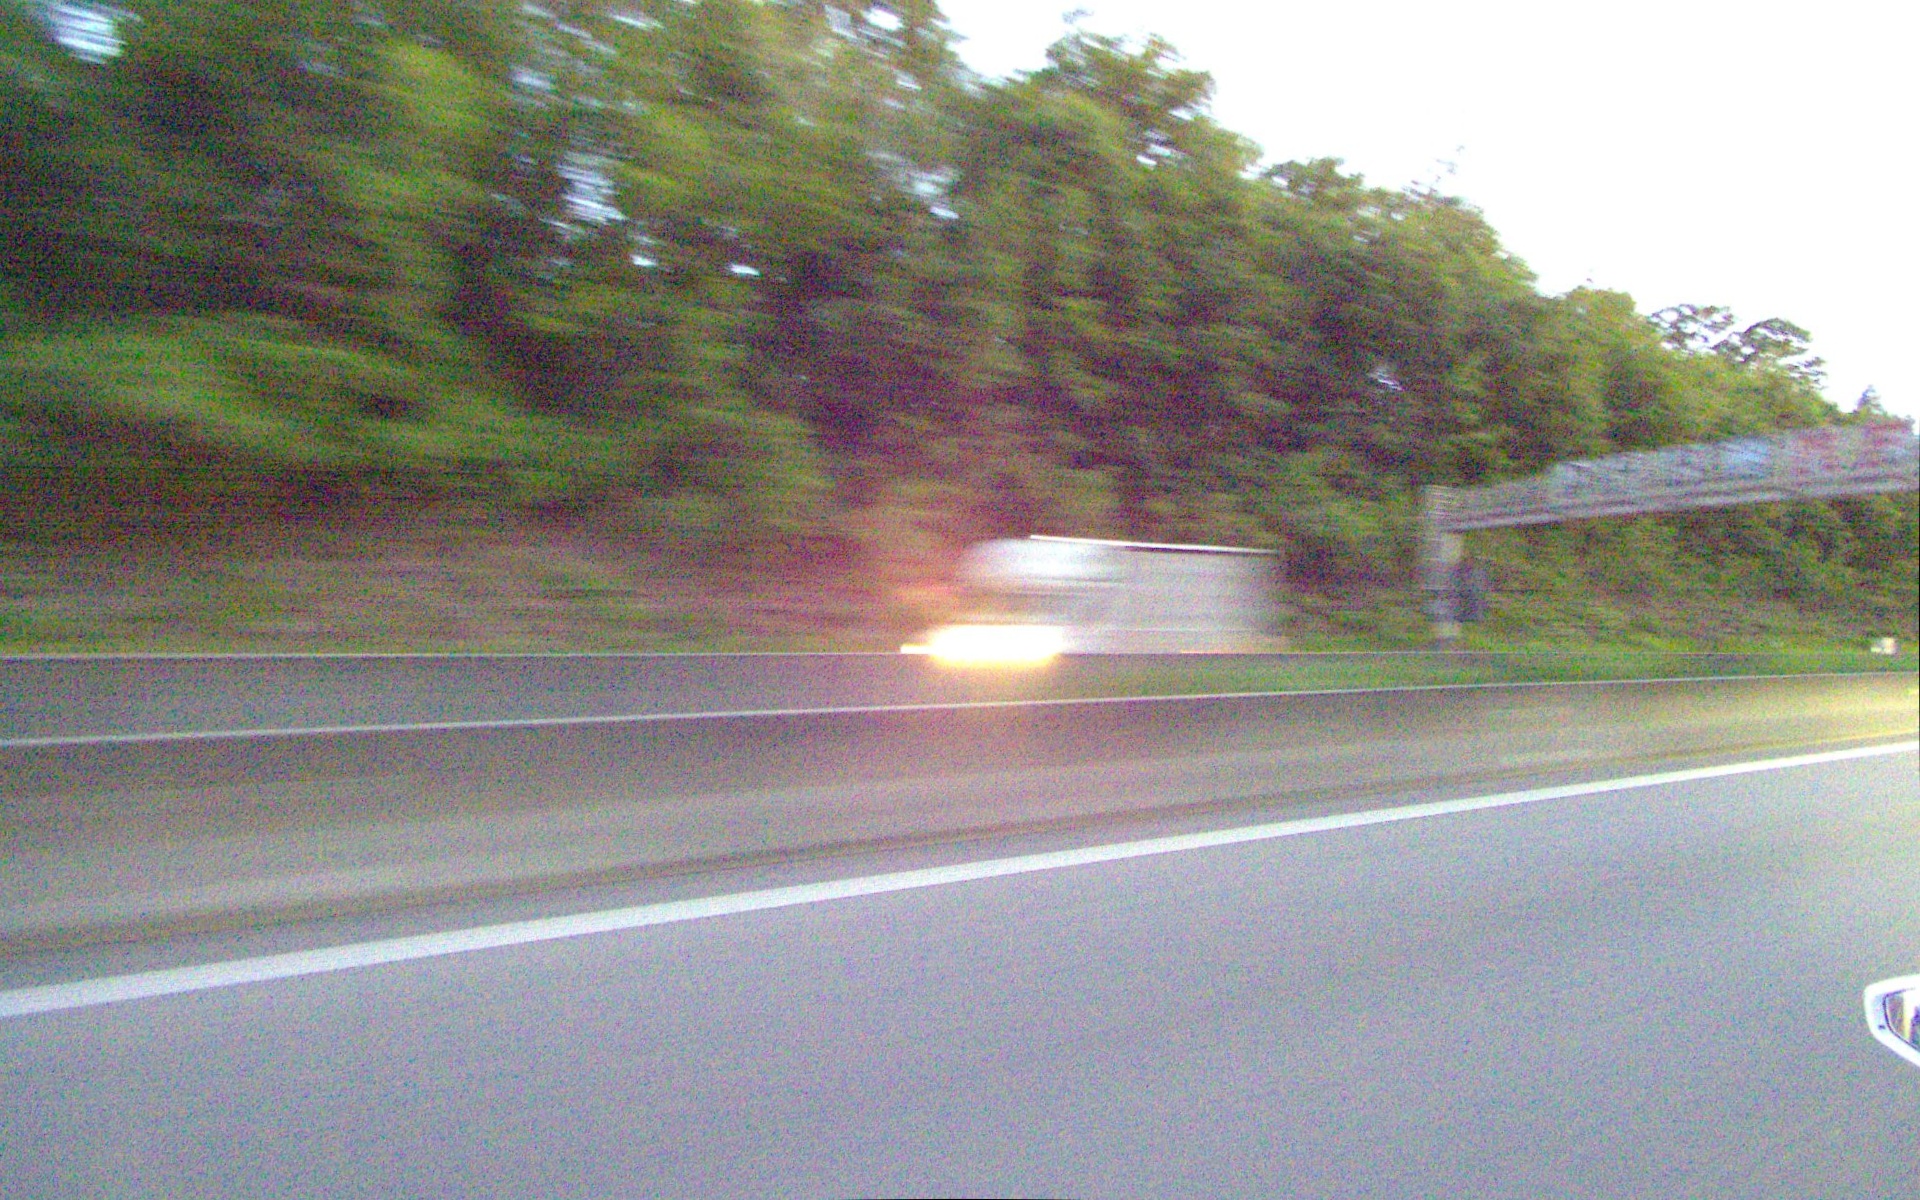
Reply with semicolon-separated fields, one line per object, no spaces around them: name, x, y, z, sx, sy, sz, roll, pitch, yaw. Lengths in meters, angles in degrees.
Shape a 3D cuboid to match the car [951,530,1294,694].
car;3.972;0.376;23.518;8.132;3.327;2.601;2;-1;-30
